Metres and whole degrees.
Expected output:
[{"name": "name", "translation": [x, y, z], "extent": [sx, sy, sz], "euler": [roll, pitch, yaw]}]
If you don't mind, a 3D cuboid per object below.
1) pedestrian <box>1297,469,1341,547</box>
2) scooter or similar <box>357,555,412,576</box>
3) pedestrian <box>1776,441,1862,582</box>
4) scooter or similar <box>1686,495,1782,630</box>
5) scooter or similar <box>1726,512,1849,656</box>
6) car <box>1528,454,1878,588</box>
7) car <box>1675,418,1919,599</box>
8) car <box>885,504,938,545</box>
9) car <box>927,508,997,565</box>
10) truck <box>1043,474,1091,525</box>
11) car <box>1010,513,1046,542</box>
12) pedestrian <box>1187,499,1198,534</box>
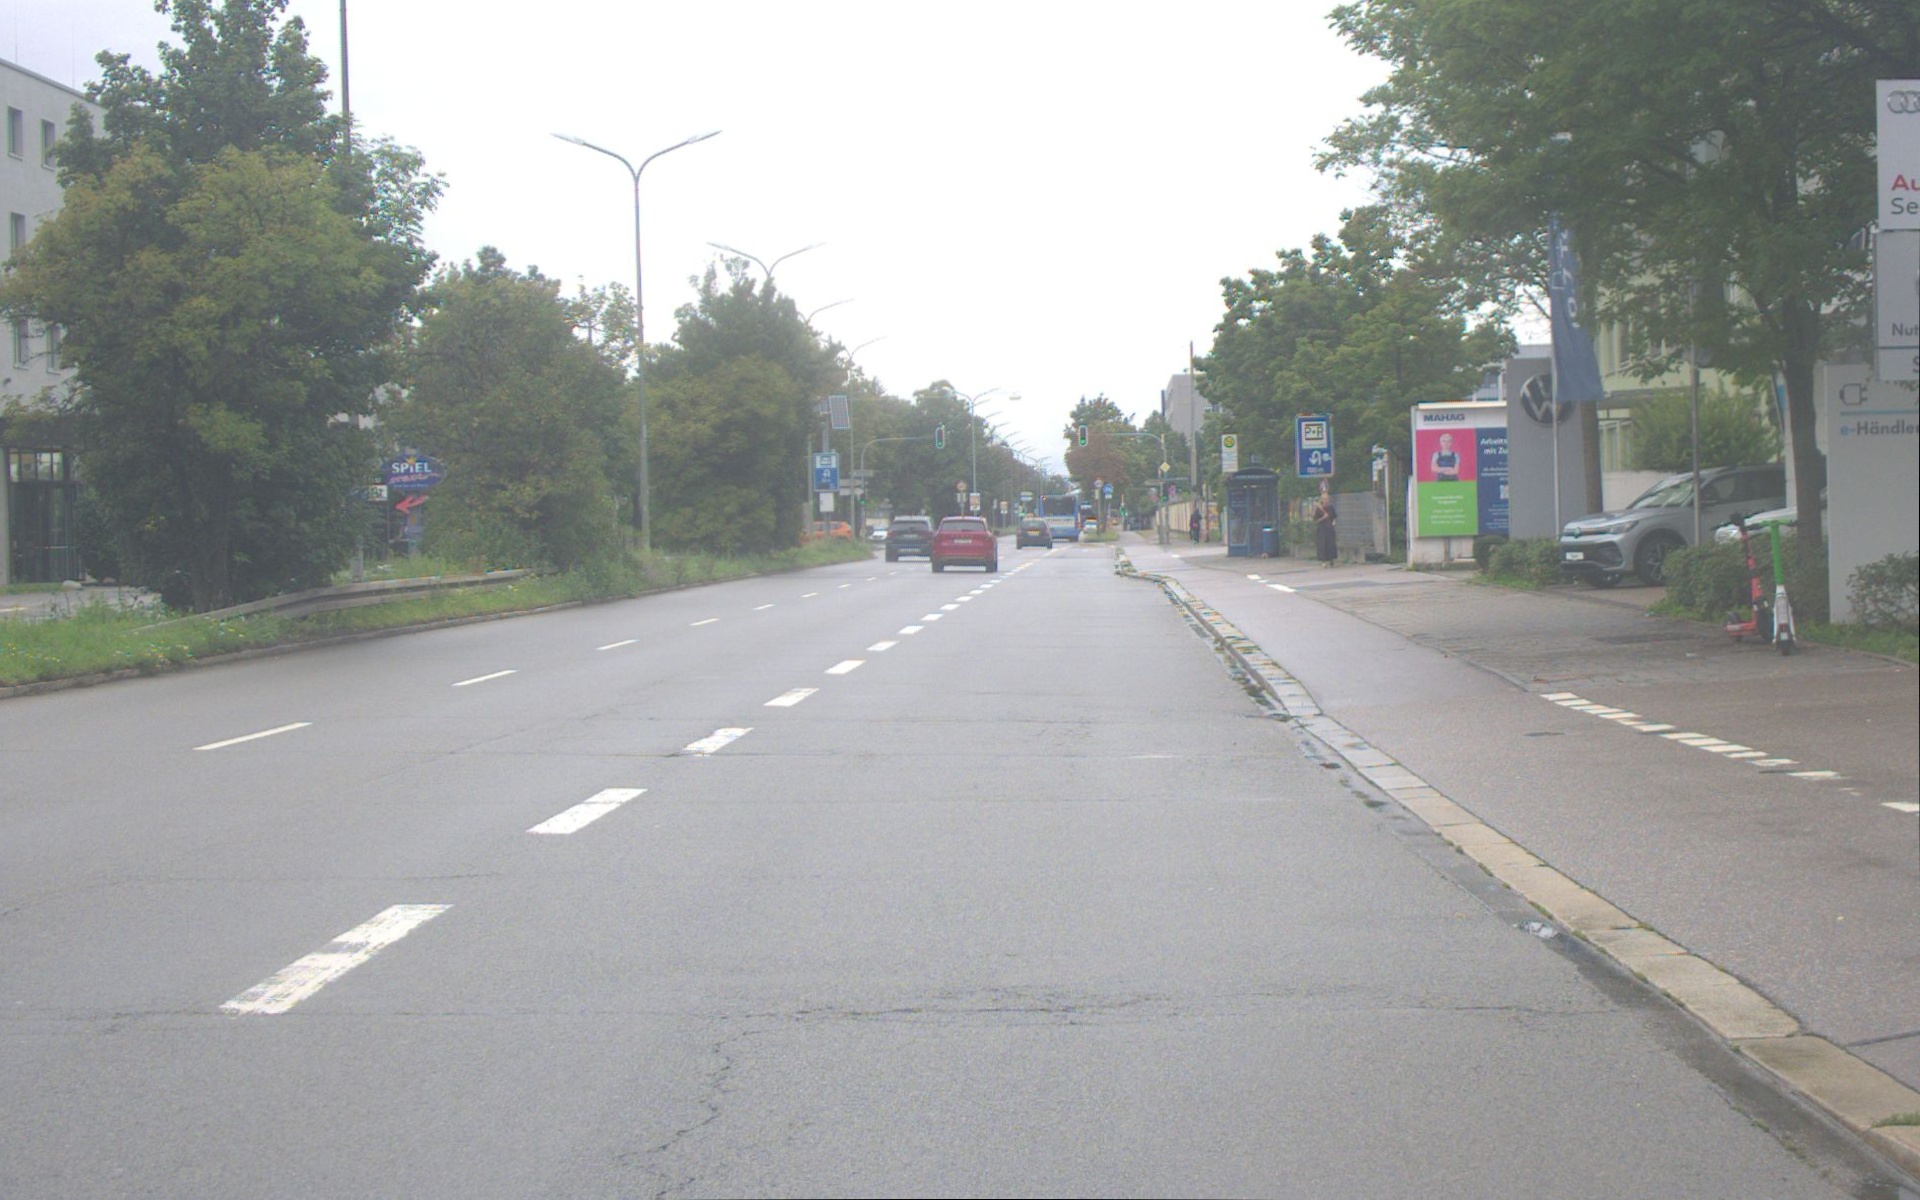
[{"name": "pedestrian", "translation": [8.315, -2.126, 79.573], "extent": [0.758, 1.722, 0.895], "euler": [-5, 1, -2]}, {"name": "scooter or similar", "translation": [-19.812, -1.194, 118.411], "extent": [1.468, 0.583, 2.320], "euler": [-2, -2, 0]}, {"name": "pedestrian", "translation": [10.951, -1.127, 43.831], "extent": [0.804, 1.770, 0.716], "euler": [-2, 2, -42]}, {"name": "scooter or similar", "translation": [7.296, -0.368, 32.464], "extent": [0.496, 1.200, 1.430], "euler": [-4, 2, 0]}, {"name": "scooter or similar", "translation": [7.257, -0.142, 30.207], "extent": [0.496, 1.200, 1.430], "euler": [-4, 1, -7]}, {"name": "car", "translation": [10.944, -1.156, 50.685], "extent": [4.588, 1.701, 2.008], "euler": [-3, 0, -18]}, {"name": "car", "translation": [11.106, -1.143, 41.826], "extent": [4.253, 2.007, 1.960], "euler": [-3, 0, 27]}, {"name": "car", "translation": [-1.747, -2.780, 126.150], "extent": [1.803, 1.428, 4.000], "euler": [-1, 1, 1]}, {"name": "car", "translation": [0.069, -1.820, 98.987], "extent": [1.862, 1.612, 4.000], "euler": [-1, 1, 2]}, {"name": "truck", "translation": [7.094, -6.660, 228.855], "extent": [2.969, 3.274, 7.916], "euler": [-1, 1, 1]}, {"name": "car", "translation": [3.462, -3.702, 175.290], "extent": [1.803, 1.428, 4.000], "euler": [-1, 1, 1]}, {"name": "pedestrian", "translation": [10.928, -3.915, 161.480], "extent": [0.483, 1.630, 0.590], "euler": [-1, 1, 1]}]
